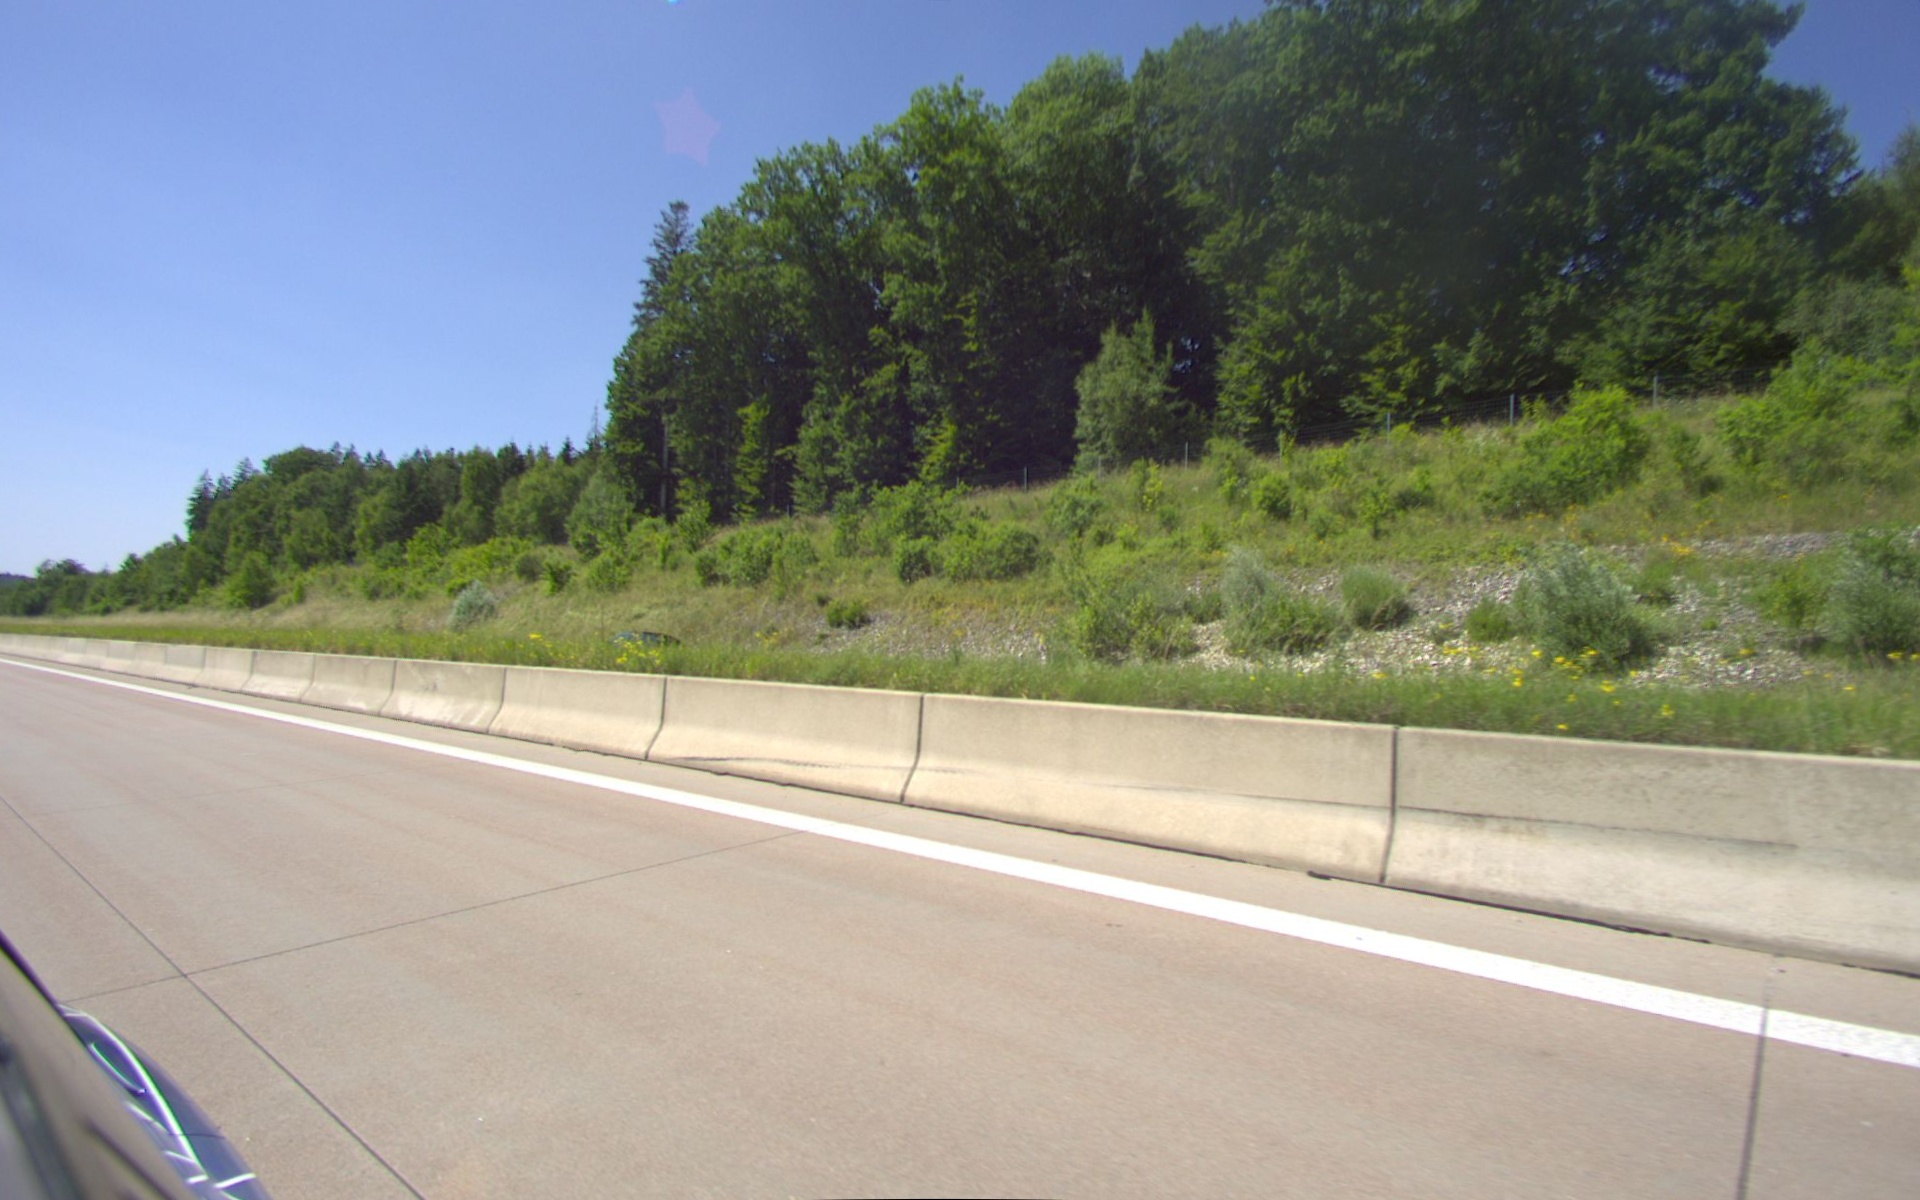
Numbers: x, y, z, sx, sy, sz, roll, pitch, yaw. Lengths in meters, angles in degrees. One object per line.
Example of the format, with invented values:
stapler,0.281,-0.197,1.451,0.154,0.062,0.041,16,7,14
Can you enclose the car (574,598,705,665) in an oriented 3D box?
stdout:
car,-10.635,1.054,33.427,4.658,2.080,1.872,-2,-2,39
